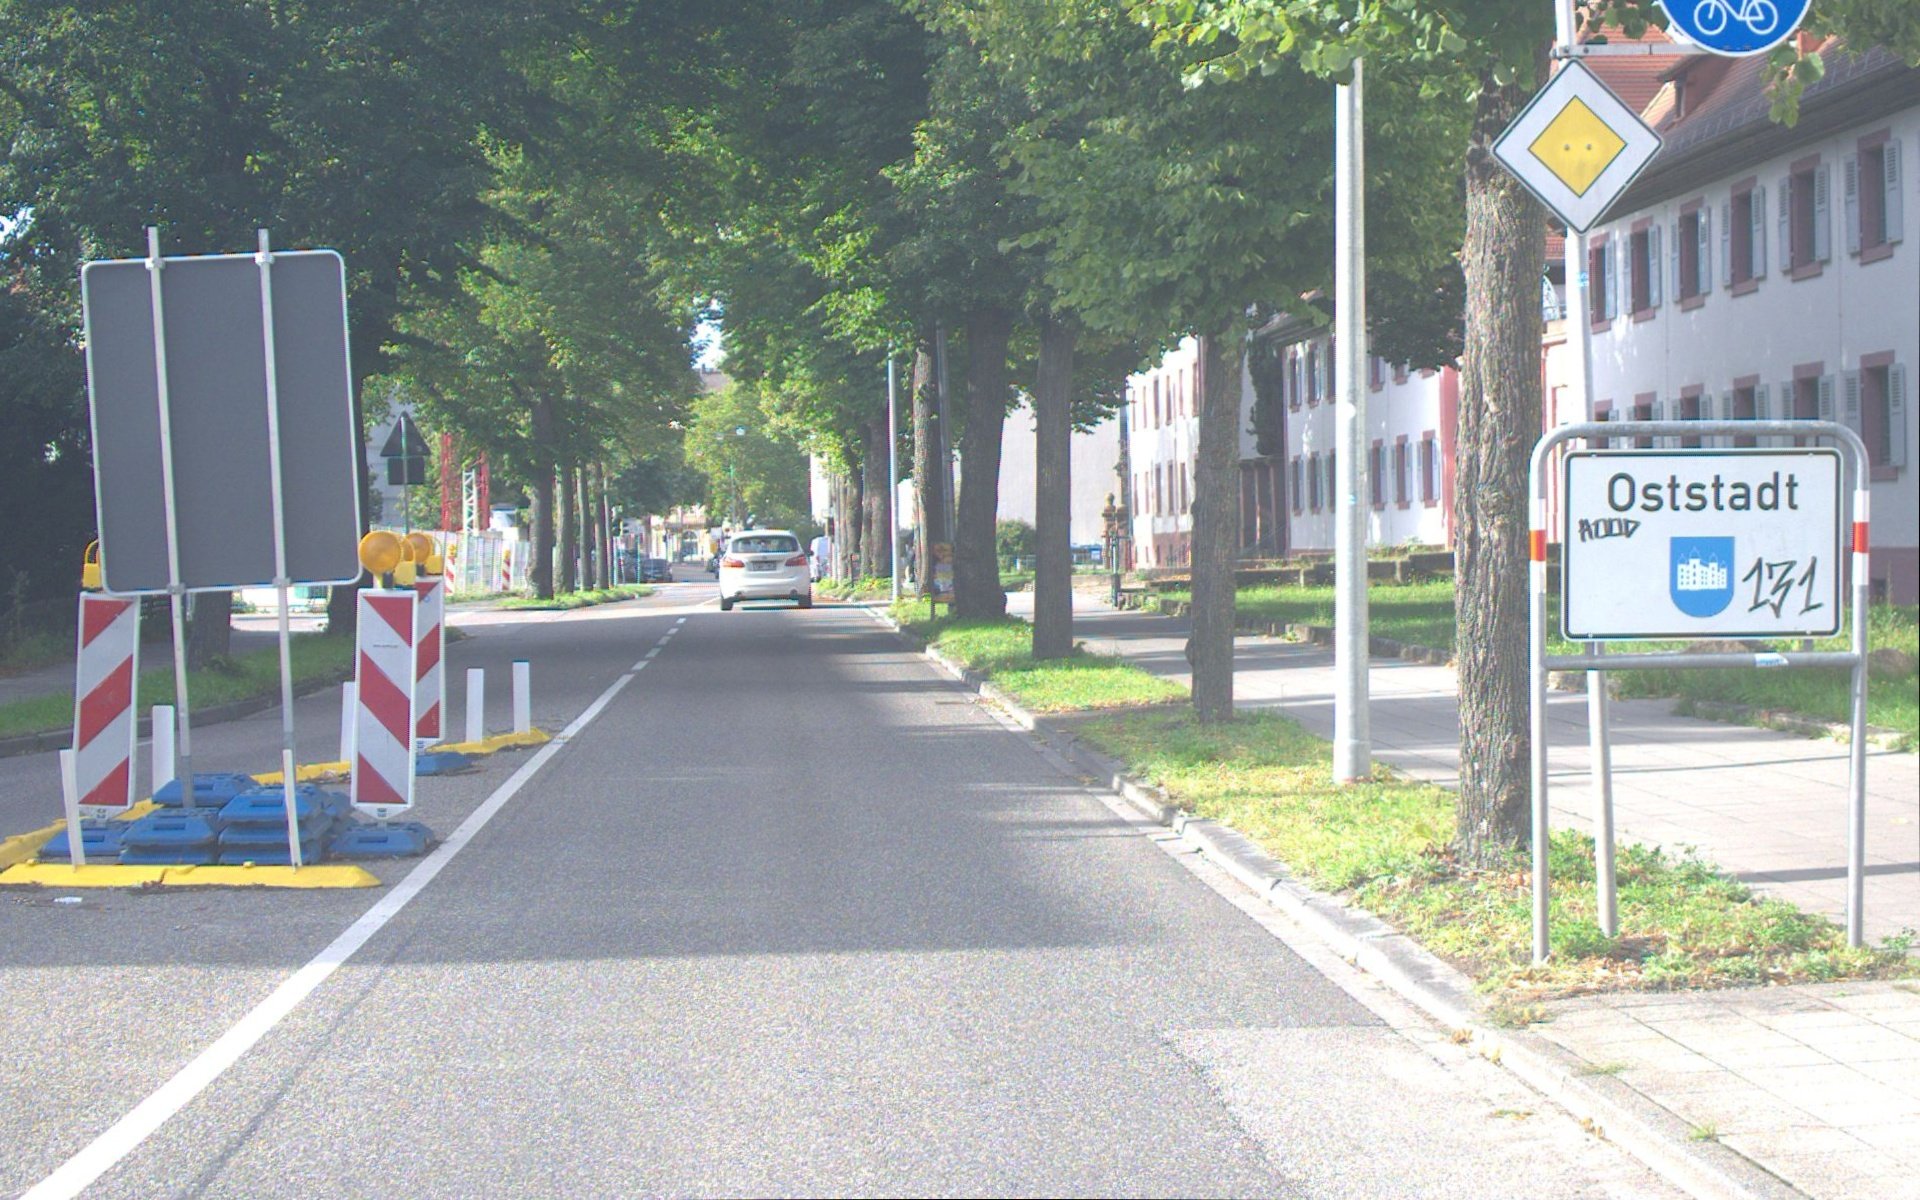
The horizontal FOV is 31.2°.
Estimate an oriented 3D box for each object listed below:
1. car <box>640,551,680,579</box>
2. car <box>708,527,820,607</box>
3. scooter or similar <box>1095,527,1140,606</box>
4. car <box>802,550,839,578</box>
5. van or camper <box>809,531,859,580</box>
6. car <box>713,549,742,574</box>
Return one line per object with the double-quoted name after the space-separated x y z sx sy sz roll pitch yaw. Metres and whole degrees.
-18.081 -2.099 206.998 1.993 1.634 4.001 -2 1 -10 "car"
-3.923 -0.646 68.248 1.993 1.549 4.275 0 0 -7 "car"
2.648 -0.564 57.755 0.579 1.287 1.381 -3 1 -2 "scooter or similar"
-8.227 -2.109 202.087 1.993 1.568 4.001 -2 1 -4 "car"
-7.008 -2.492 191.373 2.209 2.598 5.373 -2 1 -7 "van or camper"
-16.375 -2.695 241.958 1.993 1.749 4.000 0 0 -3 "car"
